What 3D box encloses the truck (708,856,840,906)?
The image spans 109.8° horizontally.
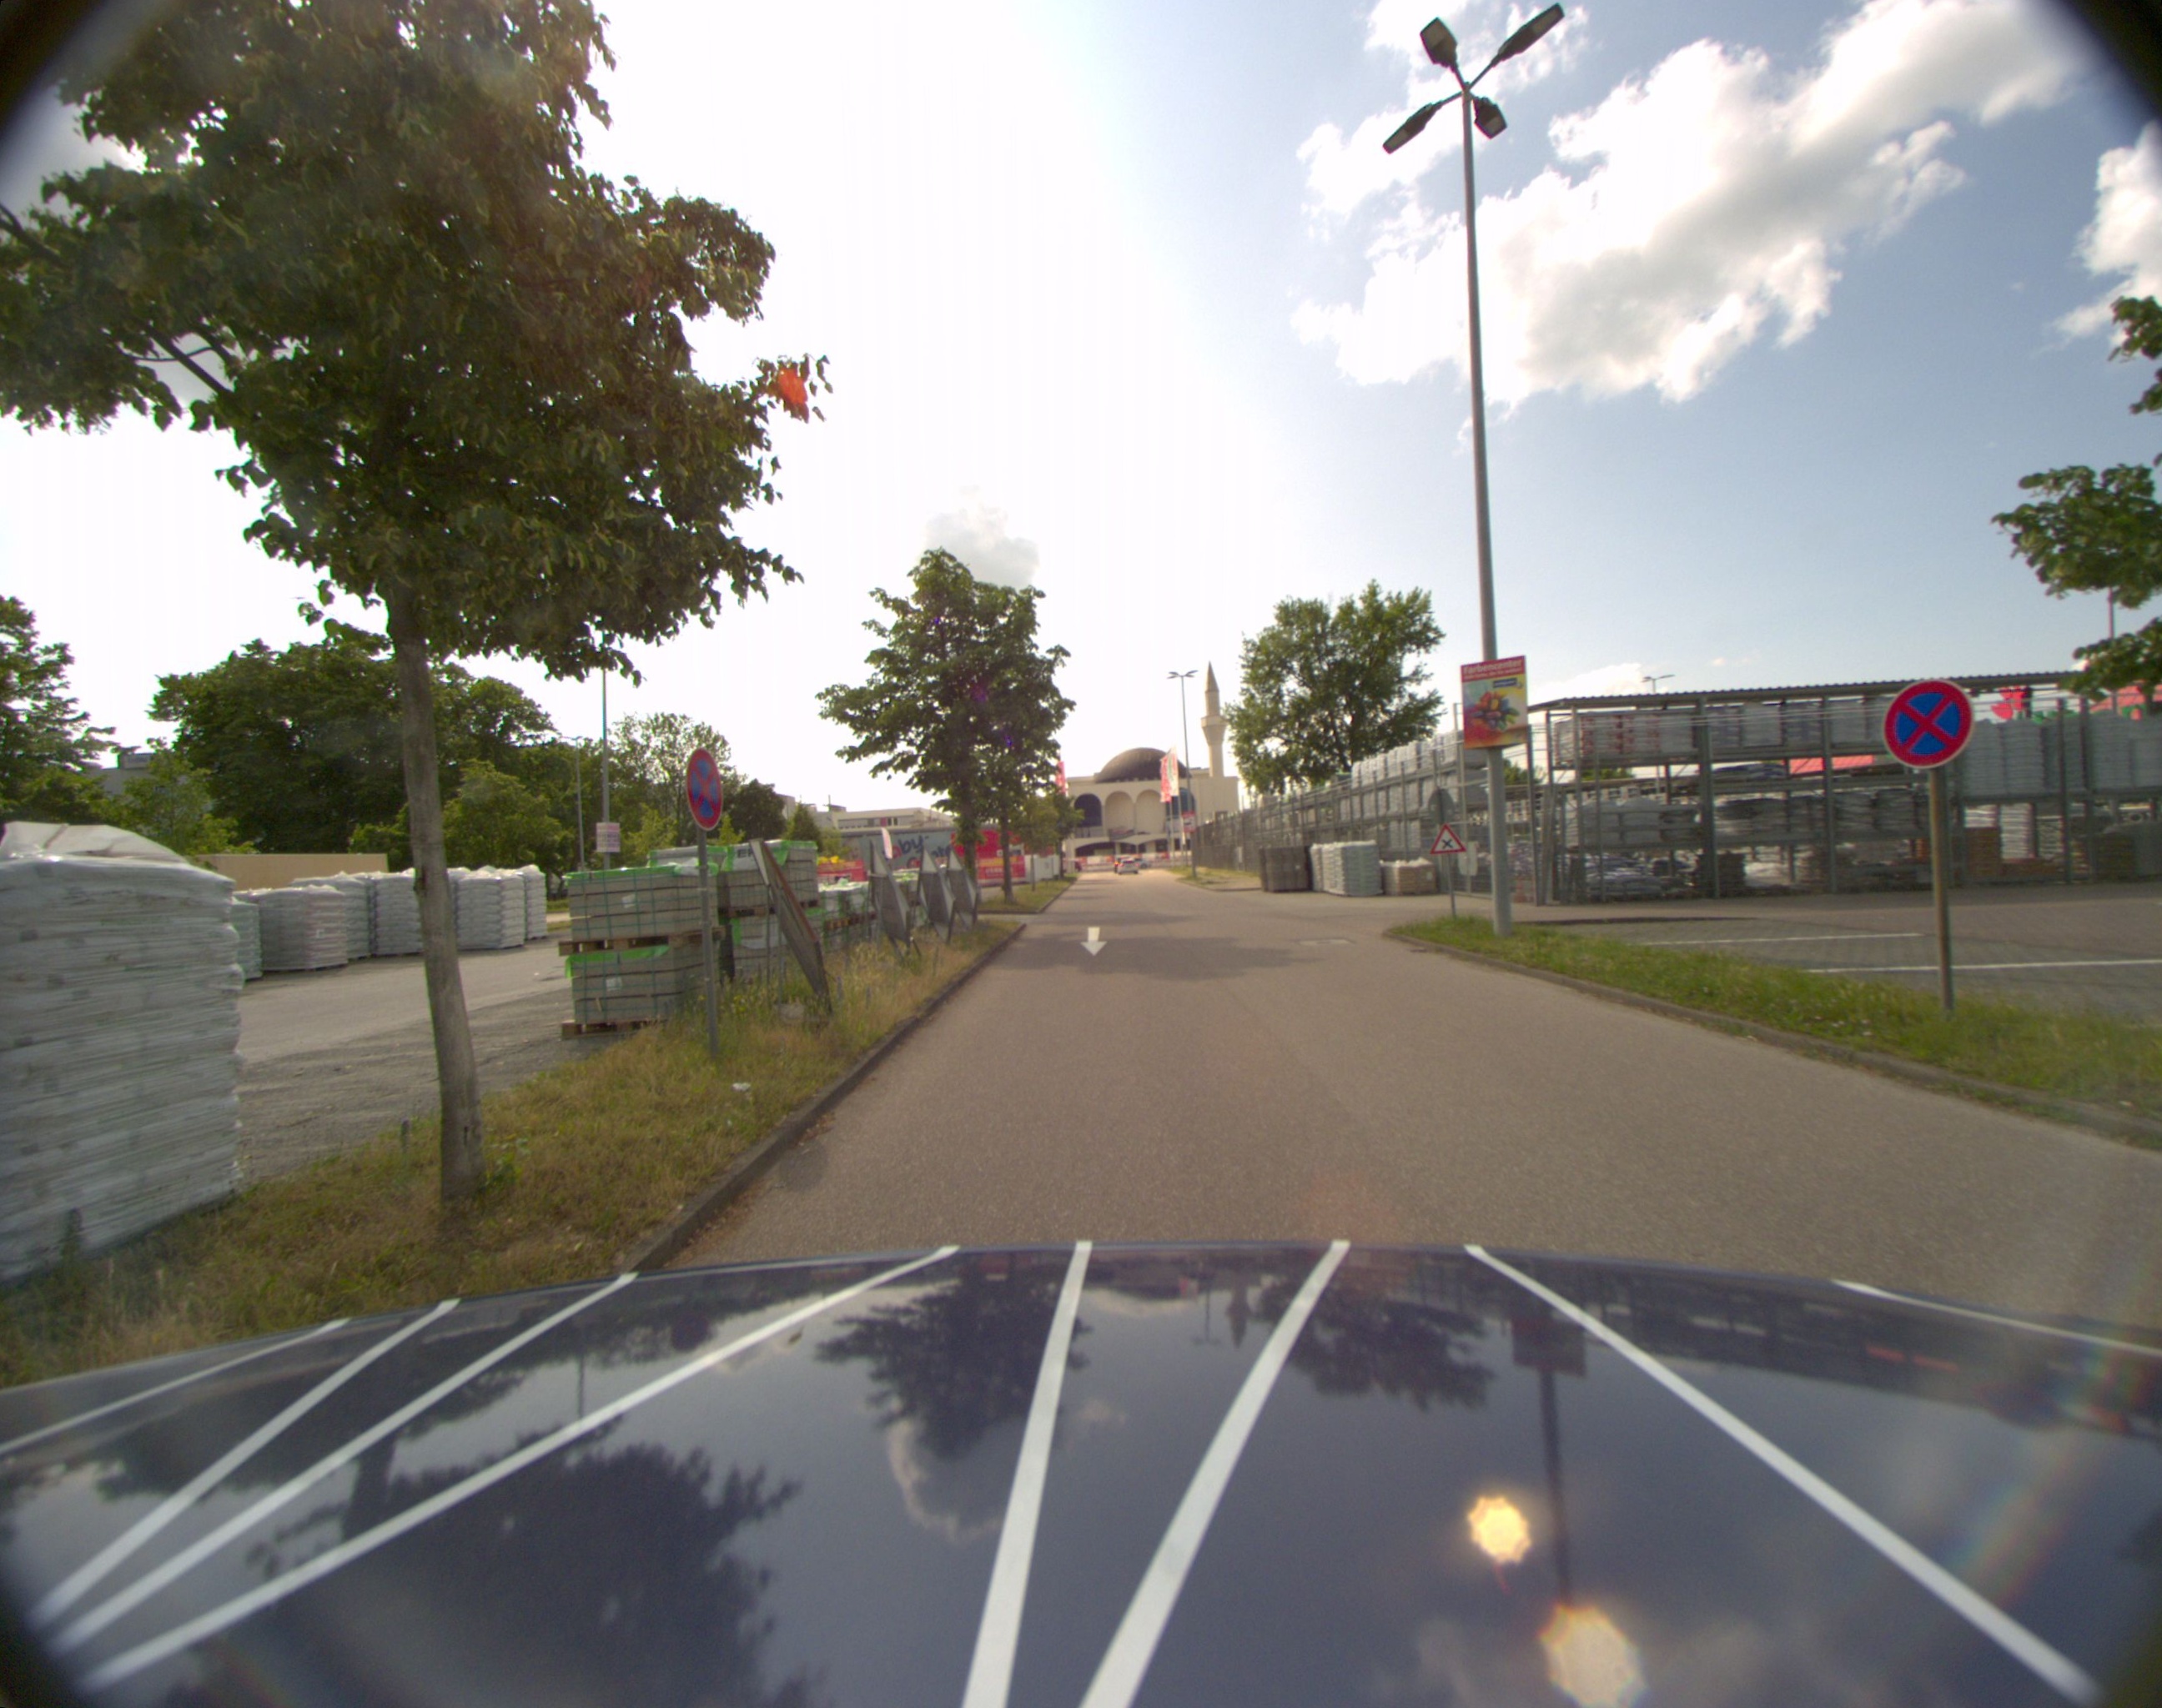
[{"bbox_3d":[-15.852,1.376,39.431,5.859,2.242,2.173,-3,0,-1],"label":"truck"}]

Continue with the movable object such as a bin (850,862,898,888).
[{"bbox_3d":[-15.047,1.509,55.202,3.010,1.660,1.389,-3,0,1],"label":"movable object such as a bin"}]

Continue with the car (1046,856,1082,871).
[{"bbox_3d":[-2.044,1.177,93.396,4.189,1.500,1.792,-3,0,2],"label":"car"}]

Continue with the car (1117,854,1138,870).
[{"bbox_3d":[4.408,0.736,72.149,1.808,1.456,4.329,-3,0,2],"label":"car"}]

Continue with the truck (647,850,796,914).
[{"bbox_3d":[-15.772,1.202,33.593,5.441,2.500,2.116,-3,0,-1],"label":"truck"}]

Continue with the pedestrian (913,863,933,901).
[{"bbox_3d":[-7.161,1.252,34.430,0.600,1.682,0.879,-2,1,3],"label":"pedestrian"}]

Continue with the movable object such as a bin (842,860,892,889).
[{"bbox_3d":[-14.962,1.432,53.185,3.010,1.833,1.389,-3,0,1],"label":"movable object such as a bin"}]

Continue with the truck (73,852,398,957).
[{"bbox_3d":[-33.659,1.784,31.097,2.727,3.577,9.039,-2,0,3],"label":"truck"}]

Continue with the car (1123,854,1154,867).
[{"bbox_3d":[7.047,0.771,93.314,3.707,1.358,1.652,-2,0,4],"label":"car"}]

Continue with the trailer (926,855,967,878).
[{"bbox_3d":[-15.546,1.433,88.090,4.274,2.406,1.768,-3,3,1],"label":"trailer"}]

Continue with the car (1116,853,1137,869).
[{"bbox_3d":[4.710,0.752,79.647,1.920,1.608,4.374,-2,-1,0],"label":"car"}]

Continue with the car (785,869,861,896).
[{"bbox_3d":[-15.998,1.744,47.217,4.144,1.406,1.617,-2,1,-4],"label":"car"}]
